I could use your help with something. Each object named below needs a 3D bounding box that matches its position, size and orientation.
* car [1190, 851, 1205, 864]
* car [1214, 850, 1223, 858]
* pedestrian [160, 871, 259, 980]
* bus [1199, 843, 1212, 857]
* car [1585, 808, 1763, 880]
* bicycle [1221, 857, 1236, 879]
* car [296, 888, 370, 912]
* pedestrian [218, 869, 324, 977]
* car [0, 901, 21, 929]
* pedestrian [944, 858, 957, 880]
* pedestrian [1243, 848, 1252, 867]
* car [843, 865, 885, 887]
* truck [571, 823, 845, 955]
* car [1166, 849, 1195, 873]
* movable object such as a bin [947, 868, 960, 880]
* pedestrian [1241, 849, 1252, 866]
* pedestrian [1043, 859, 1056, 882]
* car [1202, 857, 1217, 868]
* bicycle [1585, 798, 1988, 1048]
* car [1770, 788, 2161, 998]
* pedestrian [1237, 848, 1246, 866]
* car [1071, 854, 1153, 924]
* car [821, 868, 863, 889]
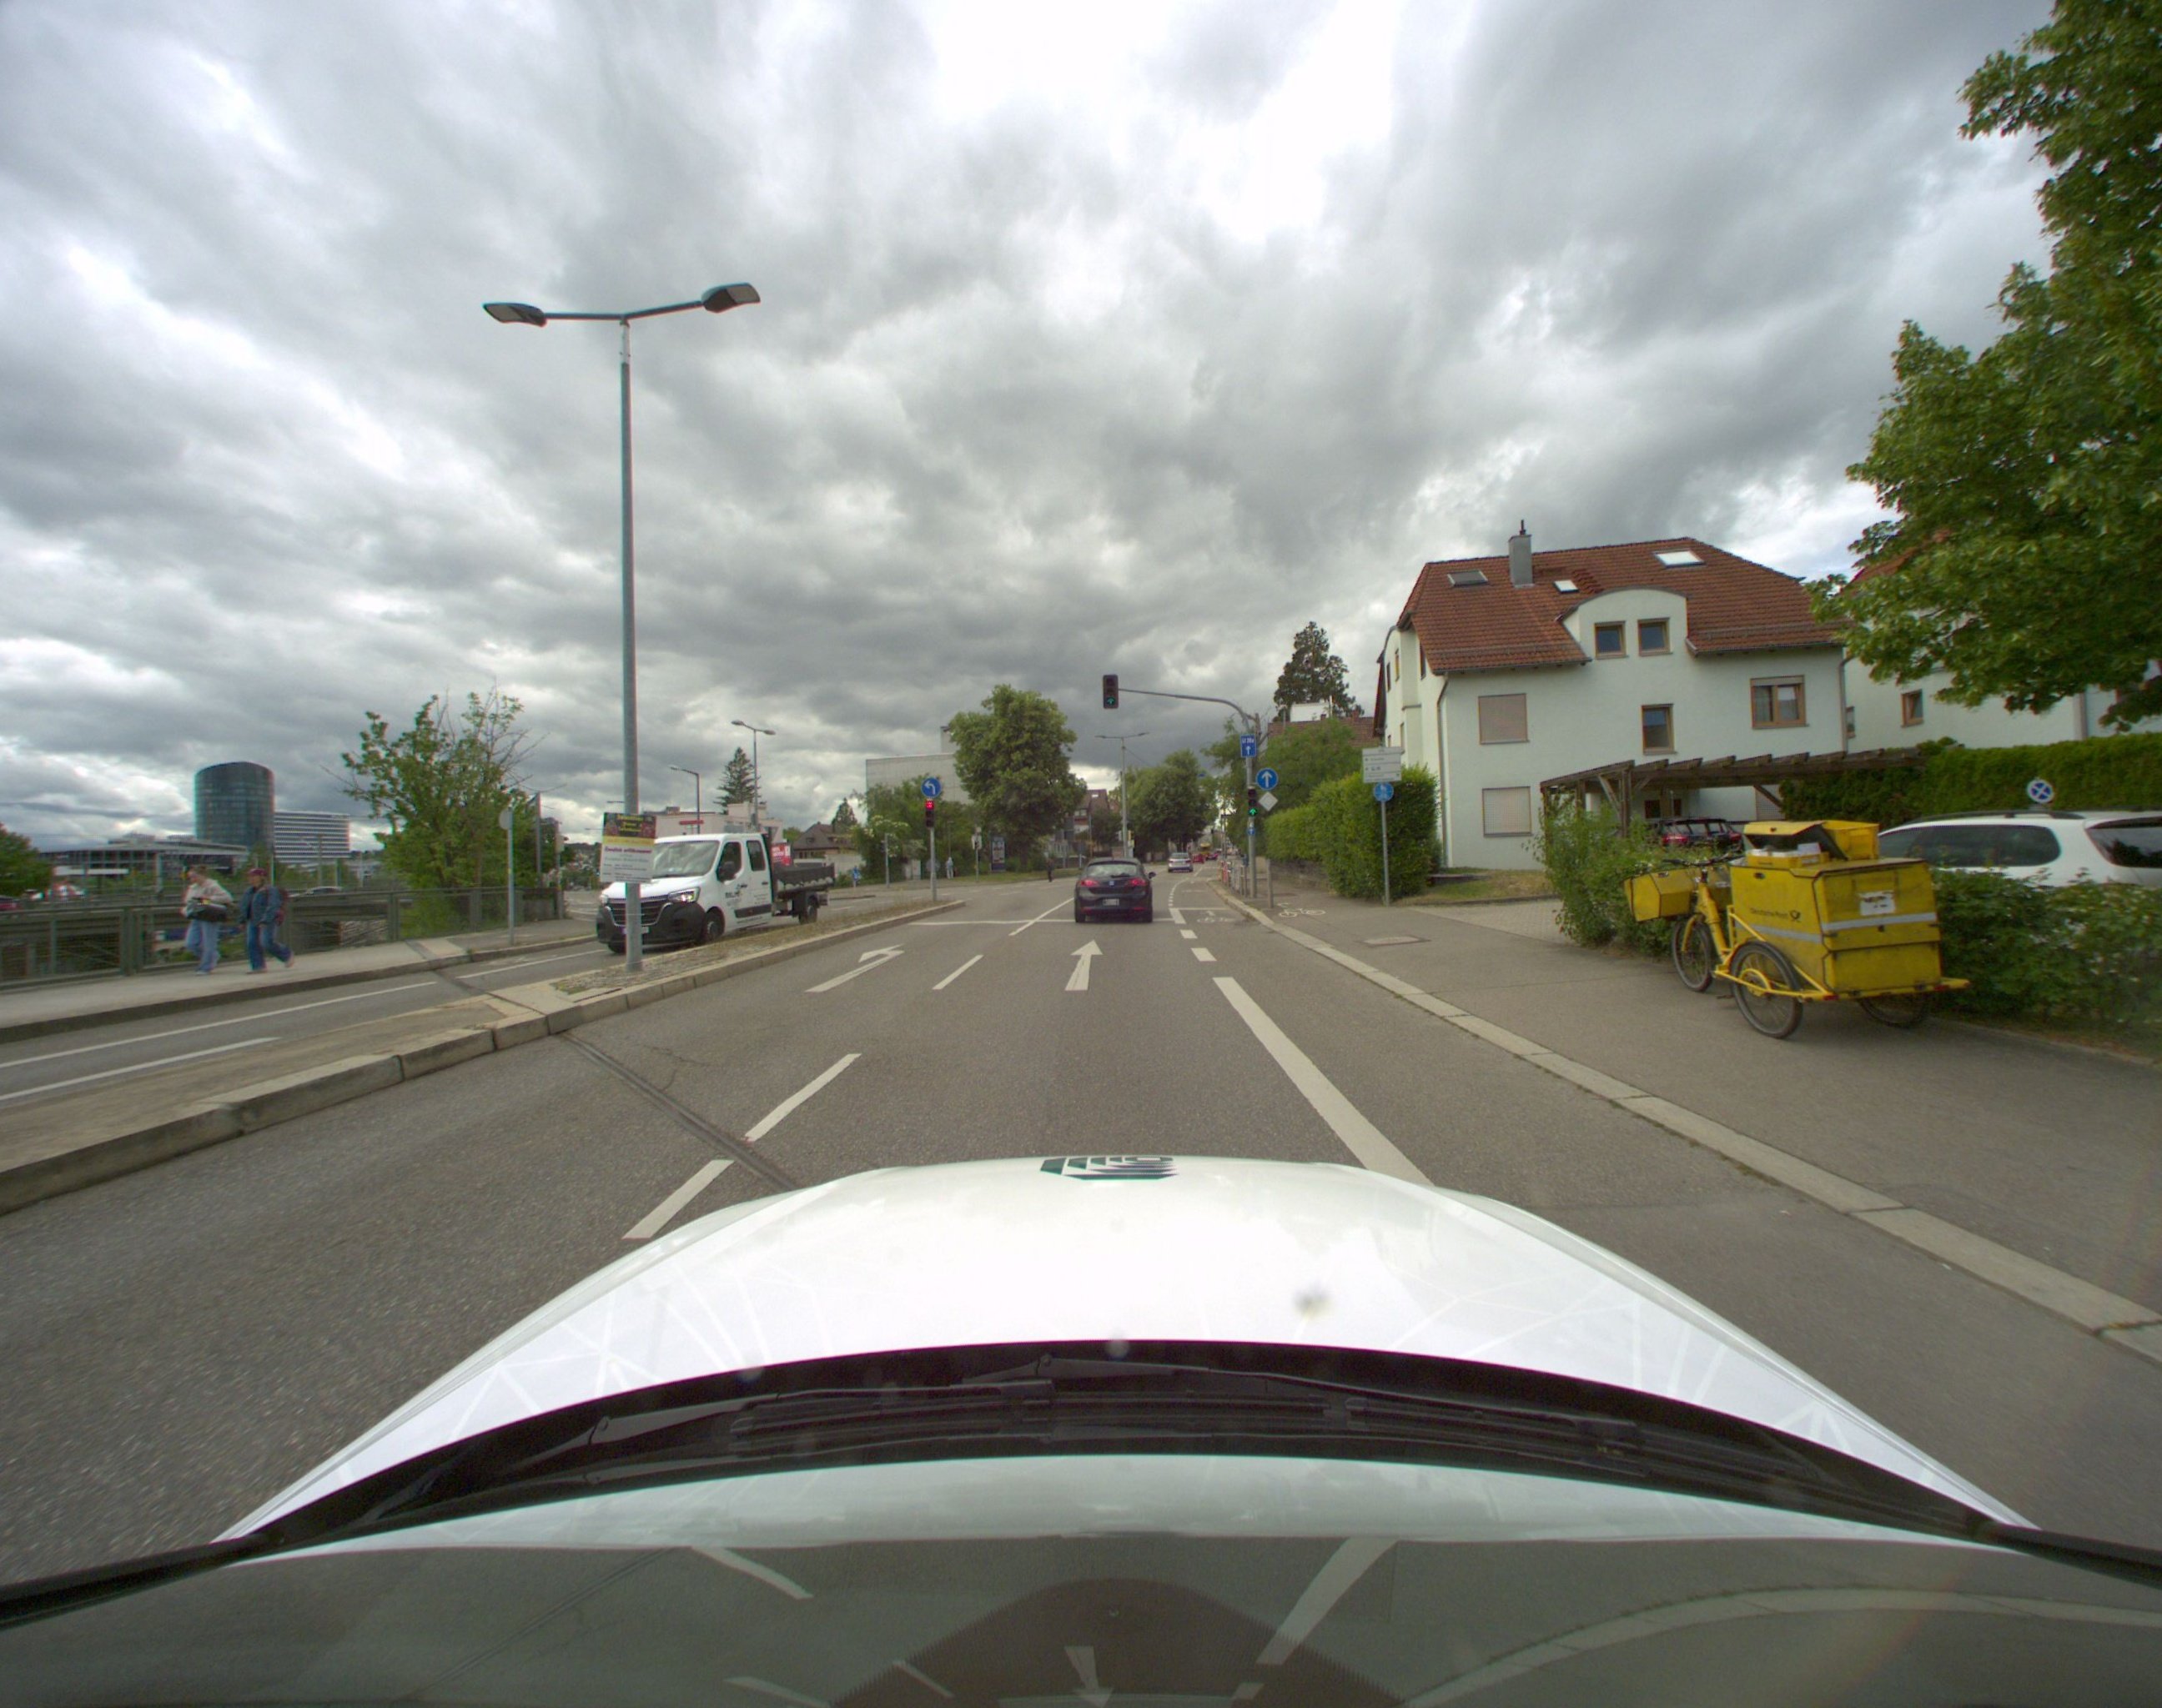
[{"bbox_3d":[15.157,0.472,105.824,1.930,1.481,4.263,-3,0,8],"label":"car"},{"bbox_3d":[28.226,-0.048,167.405,1.838,1.596,4.117,-2,0,9],"label":"car"},{"bbox_3d":[-13.634,1.090,12.763,0.655,1.633,0.831,-1,-1,-6],"label":"pedestrian"},{"bbox_3d":[30.482,-0.981,198.986,2.851,3.136,6.415,-2,0,10],"label":"bus"},{"bbox_3d":[13.832,-0.210,19.298,1.658,1.449,4.009,-3,0,8],"label":"car"},{"bbox_3d":[7.090,0.674,39.159,0.624,1.028,1.507,-2,0,8],"label":"bicycle"},{"bbox_3d":[-56.833,3.435,61.905,1.868,1.571,4.024,0,0,42],"label":"car"},{"bbox_3d":[-12.900,1.061,13.001,0.655,1.633,1.068,-1,-1,-6],"label":"pedestrian"},{"bbox_3d":[-70.303,3.917,51.245,4.020,1.662,1.778,1,0,-40],"label":"car"},{"bbox_3d":[-9.355,1.080,58.390,0.652,1.522,0.925,-2,-1,8],"label":"pedestrian"},{"bbox_3d":[13.841,0.284,67.783,0.541,1.555,0.471,-6,-1,2],"label":"pedestrian"},{"bbox_3d":[-21.216,2.133,79.765,1.977,2.013,4.019,0,0,19],"label":"car"},{"bbox_3d":[-7.653,0.624,17.897,2.114,2.264,6.819,-3,0,7],"label":"truck"},{"bbox_3d":[7.695,0.522,62.590,1.807,1.699,4.267,-3,0,12],"label":"car"},{"bbox_3d":[-9.243,1.429,59.118,0.652,0.798,0.899,-2,0,8],"label":"movable object such as a bin"},{"bbox_3d":[14.062,0.300,69.222,0.515,1.427,0.614,-5,0,-41],"label":"pedestrian"},{"bbox_3d":[-2.008,1.066,52.155,0.771,1.407,0.600,-1,1,-3],"label":"pedestrian"},{"bbox_3d":[21.686,1.375,137.142,1.978,1.684,4.017,-2,0,16],"label":"car"},{"bbox_3d":[5.336,0.435,6.566,0.887,1.510,2.787,-6,0,6],"label":"bicycle"},{"bbox_3d":[8.692,0.201,7.706,1.658,1.504,4.075,-2,1,14],"label":"car"},{"bbox_3d":[13.970,0.243,70.863,0.545,1.517,0.363,-5,0,19],"label":"pedestrian"},{"bbox_3d":[0.818,0.736,19.127,1.751,1.448,3.719,0,0,5],"label":"car"},{"bbox_3d":[-23.594,2.403,80.646,1.977,2.013,4.019,0,0,19],"label":"car"}]
